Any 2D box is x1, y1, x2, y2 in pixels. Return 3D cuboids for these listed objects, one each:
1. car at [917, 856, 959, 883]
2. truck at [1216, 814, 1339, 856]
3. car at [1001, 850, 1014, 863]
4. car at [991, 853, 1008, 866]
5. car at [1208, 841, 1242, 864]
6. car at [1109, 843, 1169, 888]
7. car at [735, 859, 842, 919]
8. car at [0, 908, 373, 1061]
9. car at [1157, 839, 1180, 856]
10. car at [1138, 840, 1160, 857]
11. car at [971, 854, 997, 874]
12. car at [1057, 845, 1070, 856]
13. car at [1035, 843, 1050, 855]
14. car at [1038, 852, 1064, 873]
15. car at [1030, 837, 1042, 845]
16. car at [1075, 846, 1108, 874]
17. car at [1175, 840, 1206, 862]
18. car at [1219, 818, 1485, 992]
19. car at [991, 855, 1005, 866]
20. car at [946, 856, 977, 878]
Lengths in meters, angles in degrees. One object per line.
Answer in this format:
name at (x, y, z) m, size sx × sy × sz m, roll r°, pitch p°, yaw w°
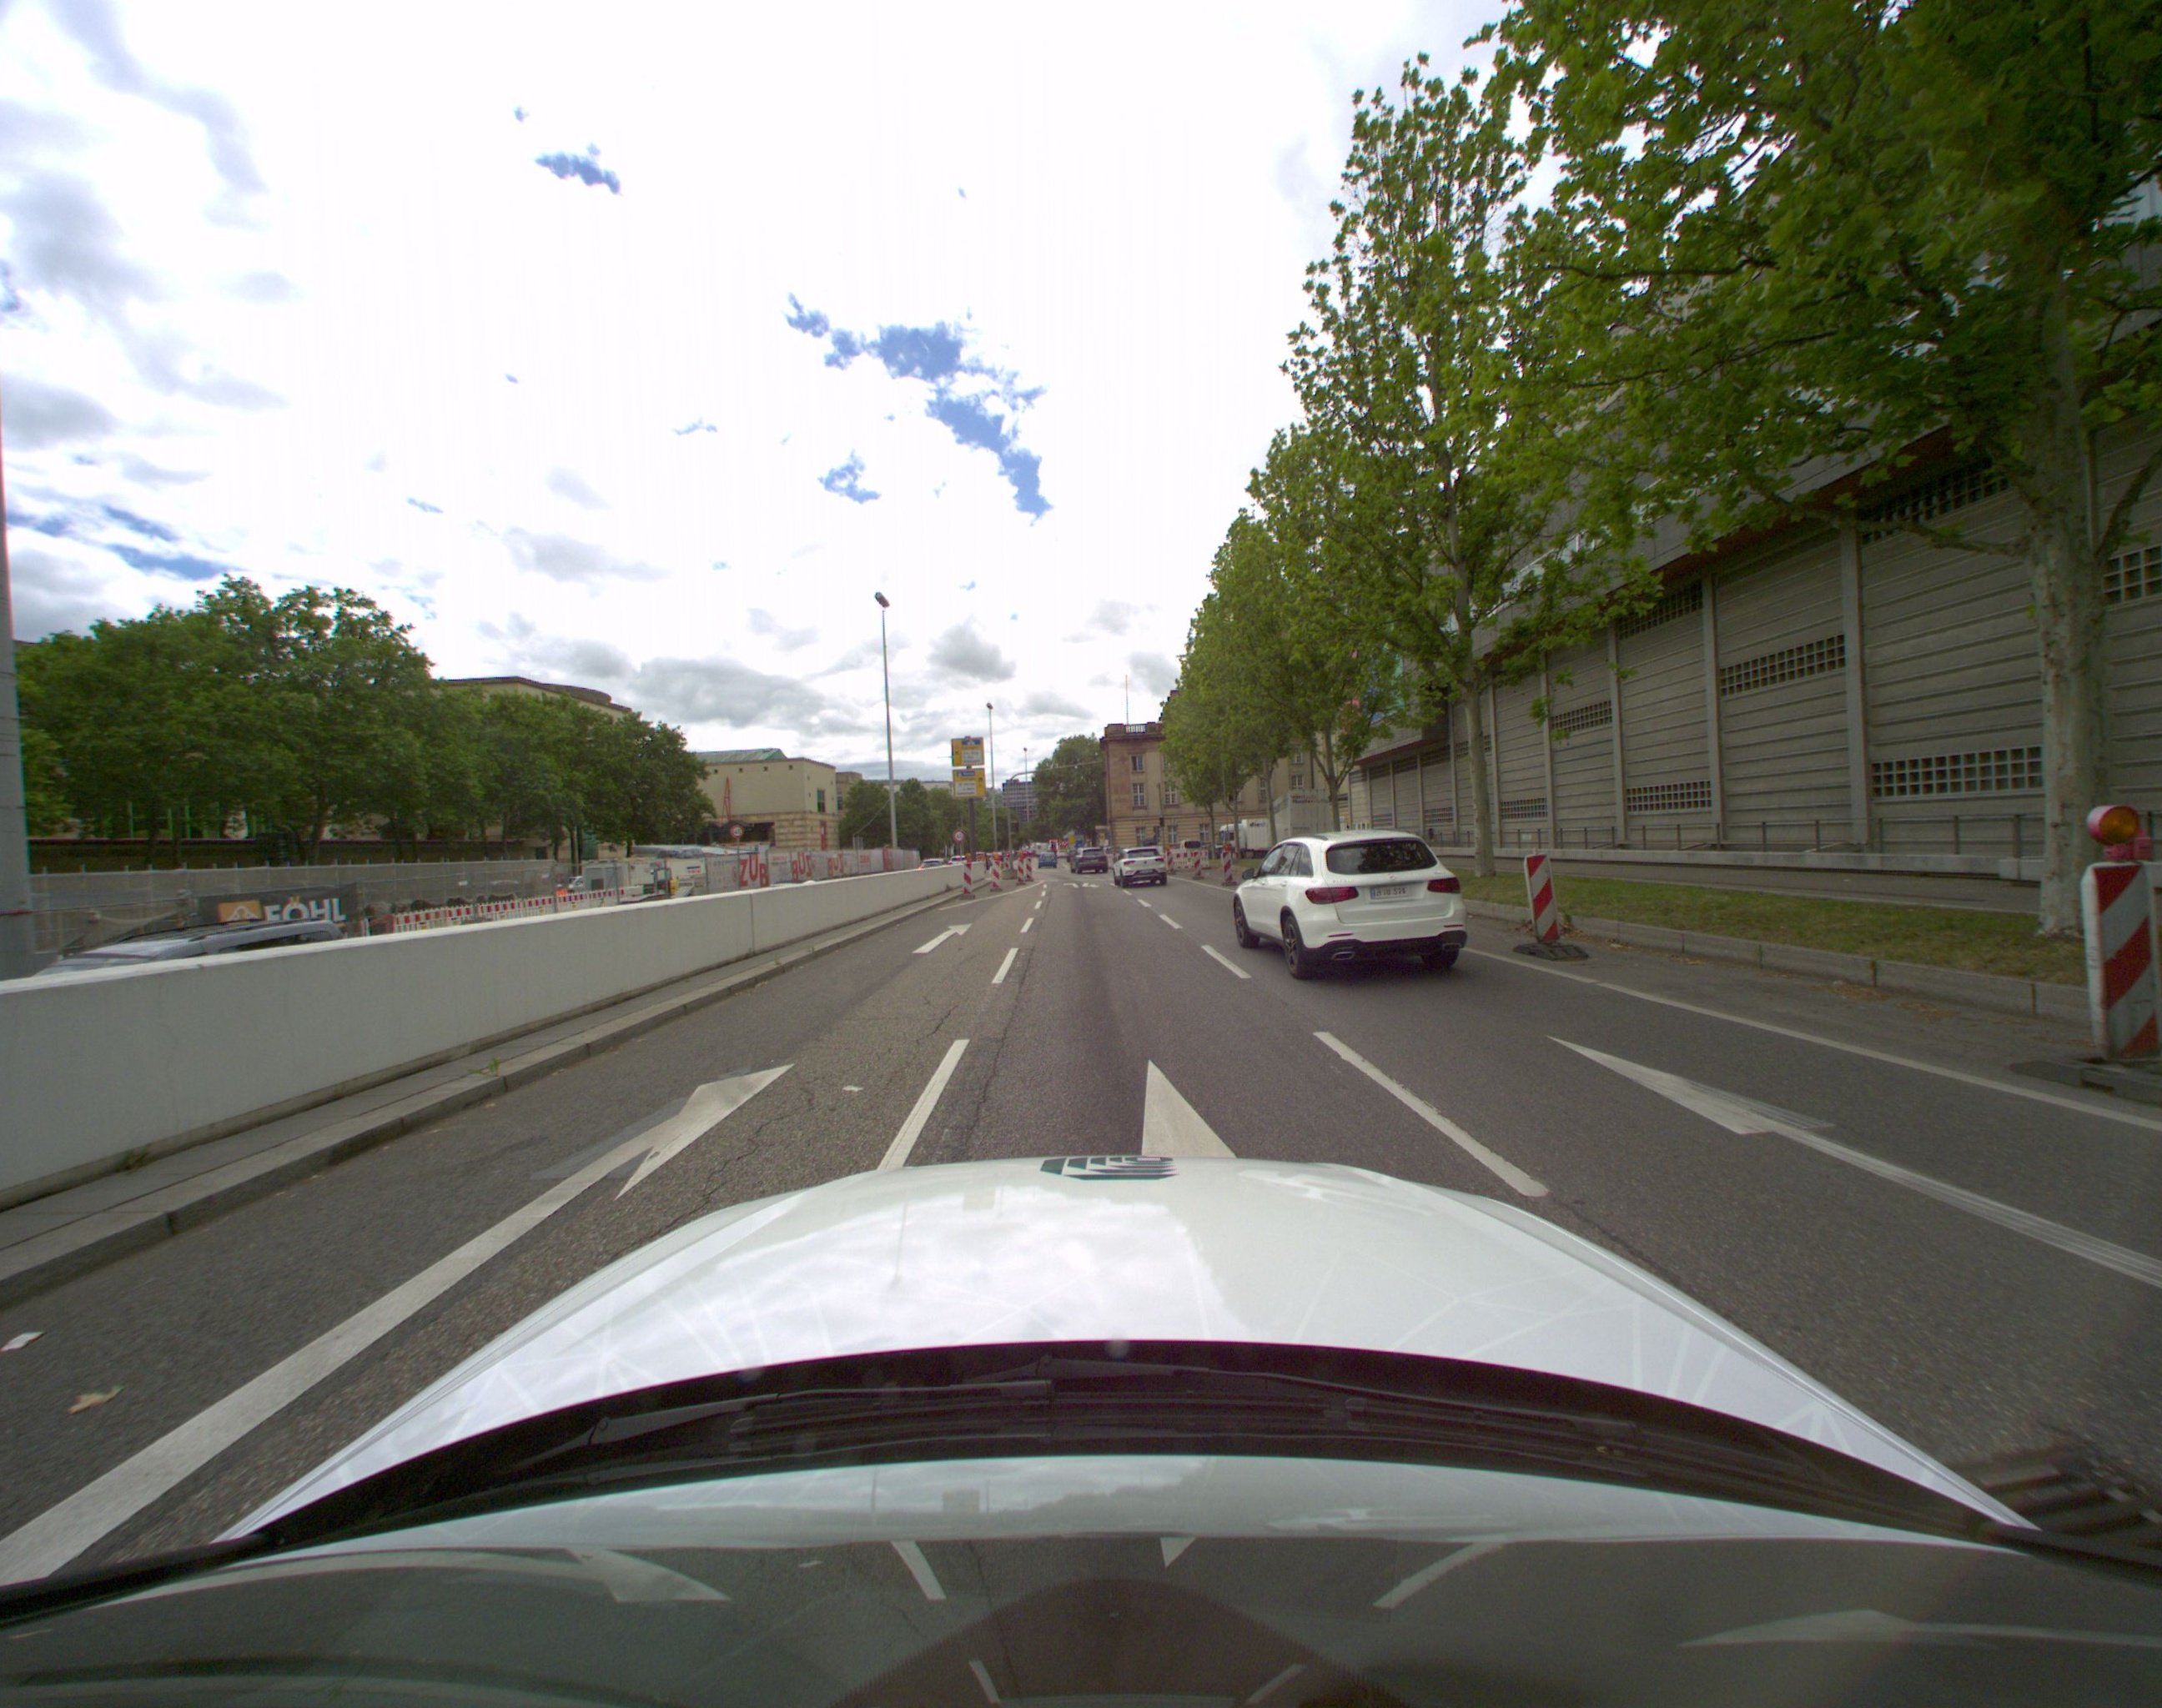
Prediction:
car at (-9.111, 0.955, 52.379) m, size 1.744 × 1.567 × 4.333 m, roll -3°, pitch 0°, yaw 2°
truck at (17.010, -1.639, 70.967) m, size 9.998 × 3.050 × 2.568 m, roll -3°, pitch -1°, yaw 0°
car at (-12.279, 0.367, 136.018) m, size 1.989 × 2.013 × 3.996 m, roll -3°, pitch 2°, yaw -3°
car at (-10.202, 0.699, 102.098) m, size 1.747 × 1.567 × 4.326 m, roll -3°, pitch 0°, yaw -3°
car at (11.042, -0.088, 62.696) m, size 1.850 × 1.568 × 4.330 m, roll -3°, pitch -1°, yaw 0°
car at (2.315, 0.441, 33.555) m, size 1.748 × 1.567 × 4.325 m, roll -5°, pitch 0°, yaw -4°
car at (-9.314, 1.046, 26.311) m, size 1.988 × 1.641 × 3.998 m, roll -3°, pitch 0°, yaw -1°
car at (-13.044, 1.794, 12.209) m, size 1.745 × 1.567 × 3.377 m, roll -6°, pitch 0°, yaw 0°
car at (8.988, -0.671, 83.658) m, size 1.850 × 1.568 × 4.330 m, roll -3°, pitch -1°, yaw 0°
car at (6.928, -0.551, 83.297) m, size 1.850 × 1.568 × 4.330 m, roll -3°, pitch -1°, yaw 0°
car at (-8.774, 0.861, 73.665) m, size 1.745 × 1.567 × 3.377 m, roll -6°, pitch 0°, yaw 0°
car at (-4.039, -0.917, 188.514) m, size 2.571 × 2.374 × 5.532 m, roll -4°, pitch 1°, yaw 4°
car at (-8.232, -1.064, 174.904) m, size 2.571 × 2.374 × 5.532 m, roll -4°, pitch 1°, yaw 4°
car at (-2.755, 0.782, 75.699) m, size 1.815 × 1.740 × 4.485 m, roll -4°, pitch 1°, yaw 4°
car at (-13.747, -4.018, 249.274) m, size 2.571 × 2.374 × 5.532 m, roll -4°, pitch 1°, yaw 4°
car at (0.646, 0.353, 53.084) m, size 1.819 × 1.567 × 4.476 m, roll -2°, pitch 2°, yaw -3°
car at (8.460, -0.226, 63.187) m, size 1.745 × 1.568 × 4.330 m, roll -3°, pitch -1°, yaw 0°
car at (3.201, 0.503, 10.713) m, size 1.806 × 1.642 × 4.550 m, roll -5°, pitch 1°, yaw -1°
car at (-12.434, 1.000, 121.703) m, size 1.747 × 1.567 × 4.326 m, roll -3°, pitch 0°, yaw -3°
car at (-9.109, 0.950, 62.244) m, size 1.745 × 1.567 × 3.377 m, roll -3°, pitch 0°, yaw 0°
